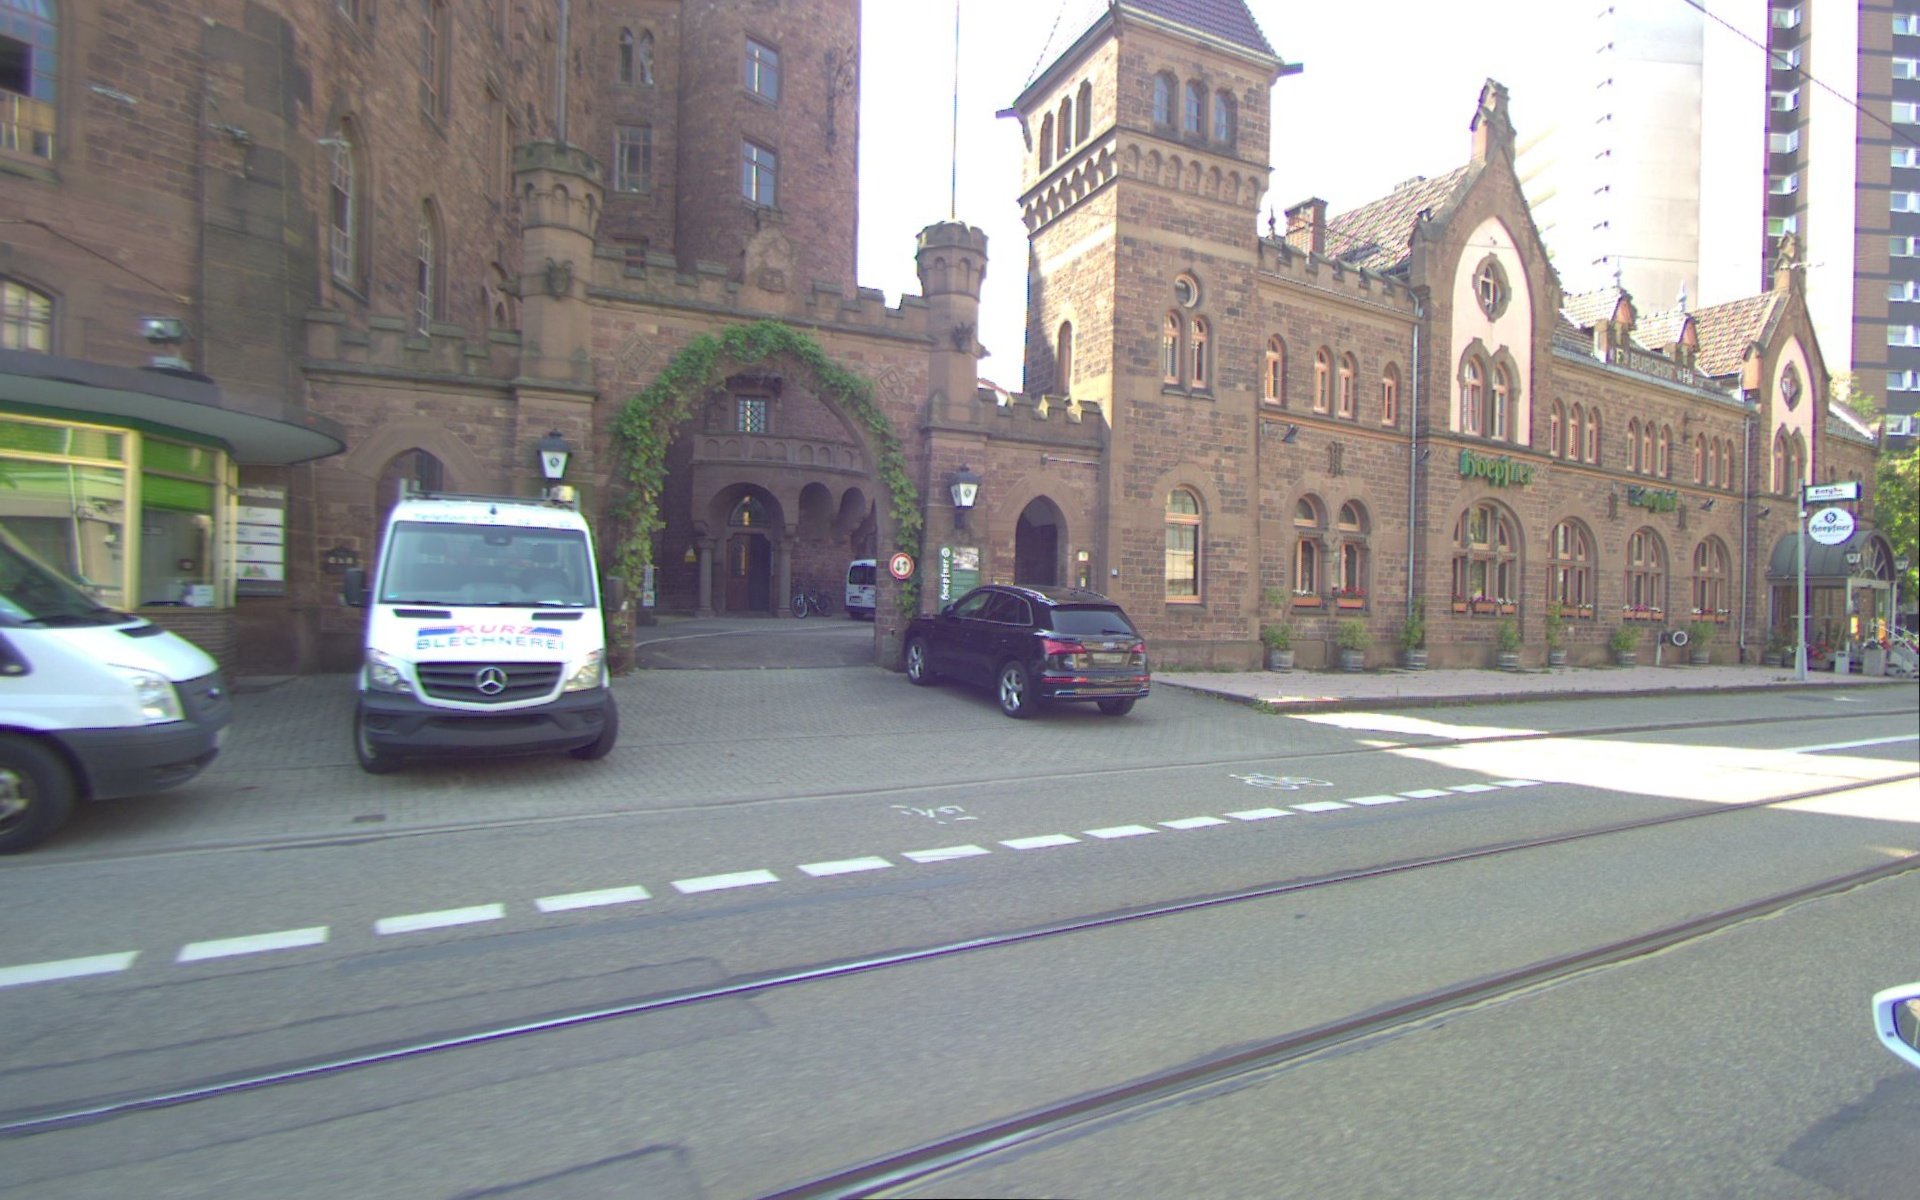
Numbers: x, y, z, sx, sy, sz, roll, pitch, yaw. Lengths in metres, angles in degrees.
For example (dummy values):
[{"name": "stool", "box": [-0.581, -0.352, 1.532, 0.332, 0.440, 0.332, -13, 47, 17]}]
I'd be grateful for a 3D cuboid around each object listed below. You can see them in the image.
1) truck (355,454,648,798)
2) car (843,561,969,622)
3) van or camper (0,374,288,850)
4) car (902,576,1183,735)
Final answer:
[{"name": "truck", "box": [-4.917, 0.042, 10.822, 2.102, 2.573, 6.299, 1, 3, -25]}, {"name": "car", "box": [-1.577, -0.221, 30.484, 1.592, 1.706, 3.985, 2, -1, 37]}, {"name": "van or camper", "box": [-7.528, 0.004, 5.749, 5.884, 2.711, 2.103, 2, 0, -30]}, {"name": "car", "box": [0.990, 0.655, 14.354, 1.976, 1.767, 4.116, 2, 2, -29]}]
